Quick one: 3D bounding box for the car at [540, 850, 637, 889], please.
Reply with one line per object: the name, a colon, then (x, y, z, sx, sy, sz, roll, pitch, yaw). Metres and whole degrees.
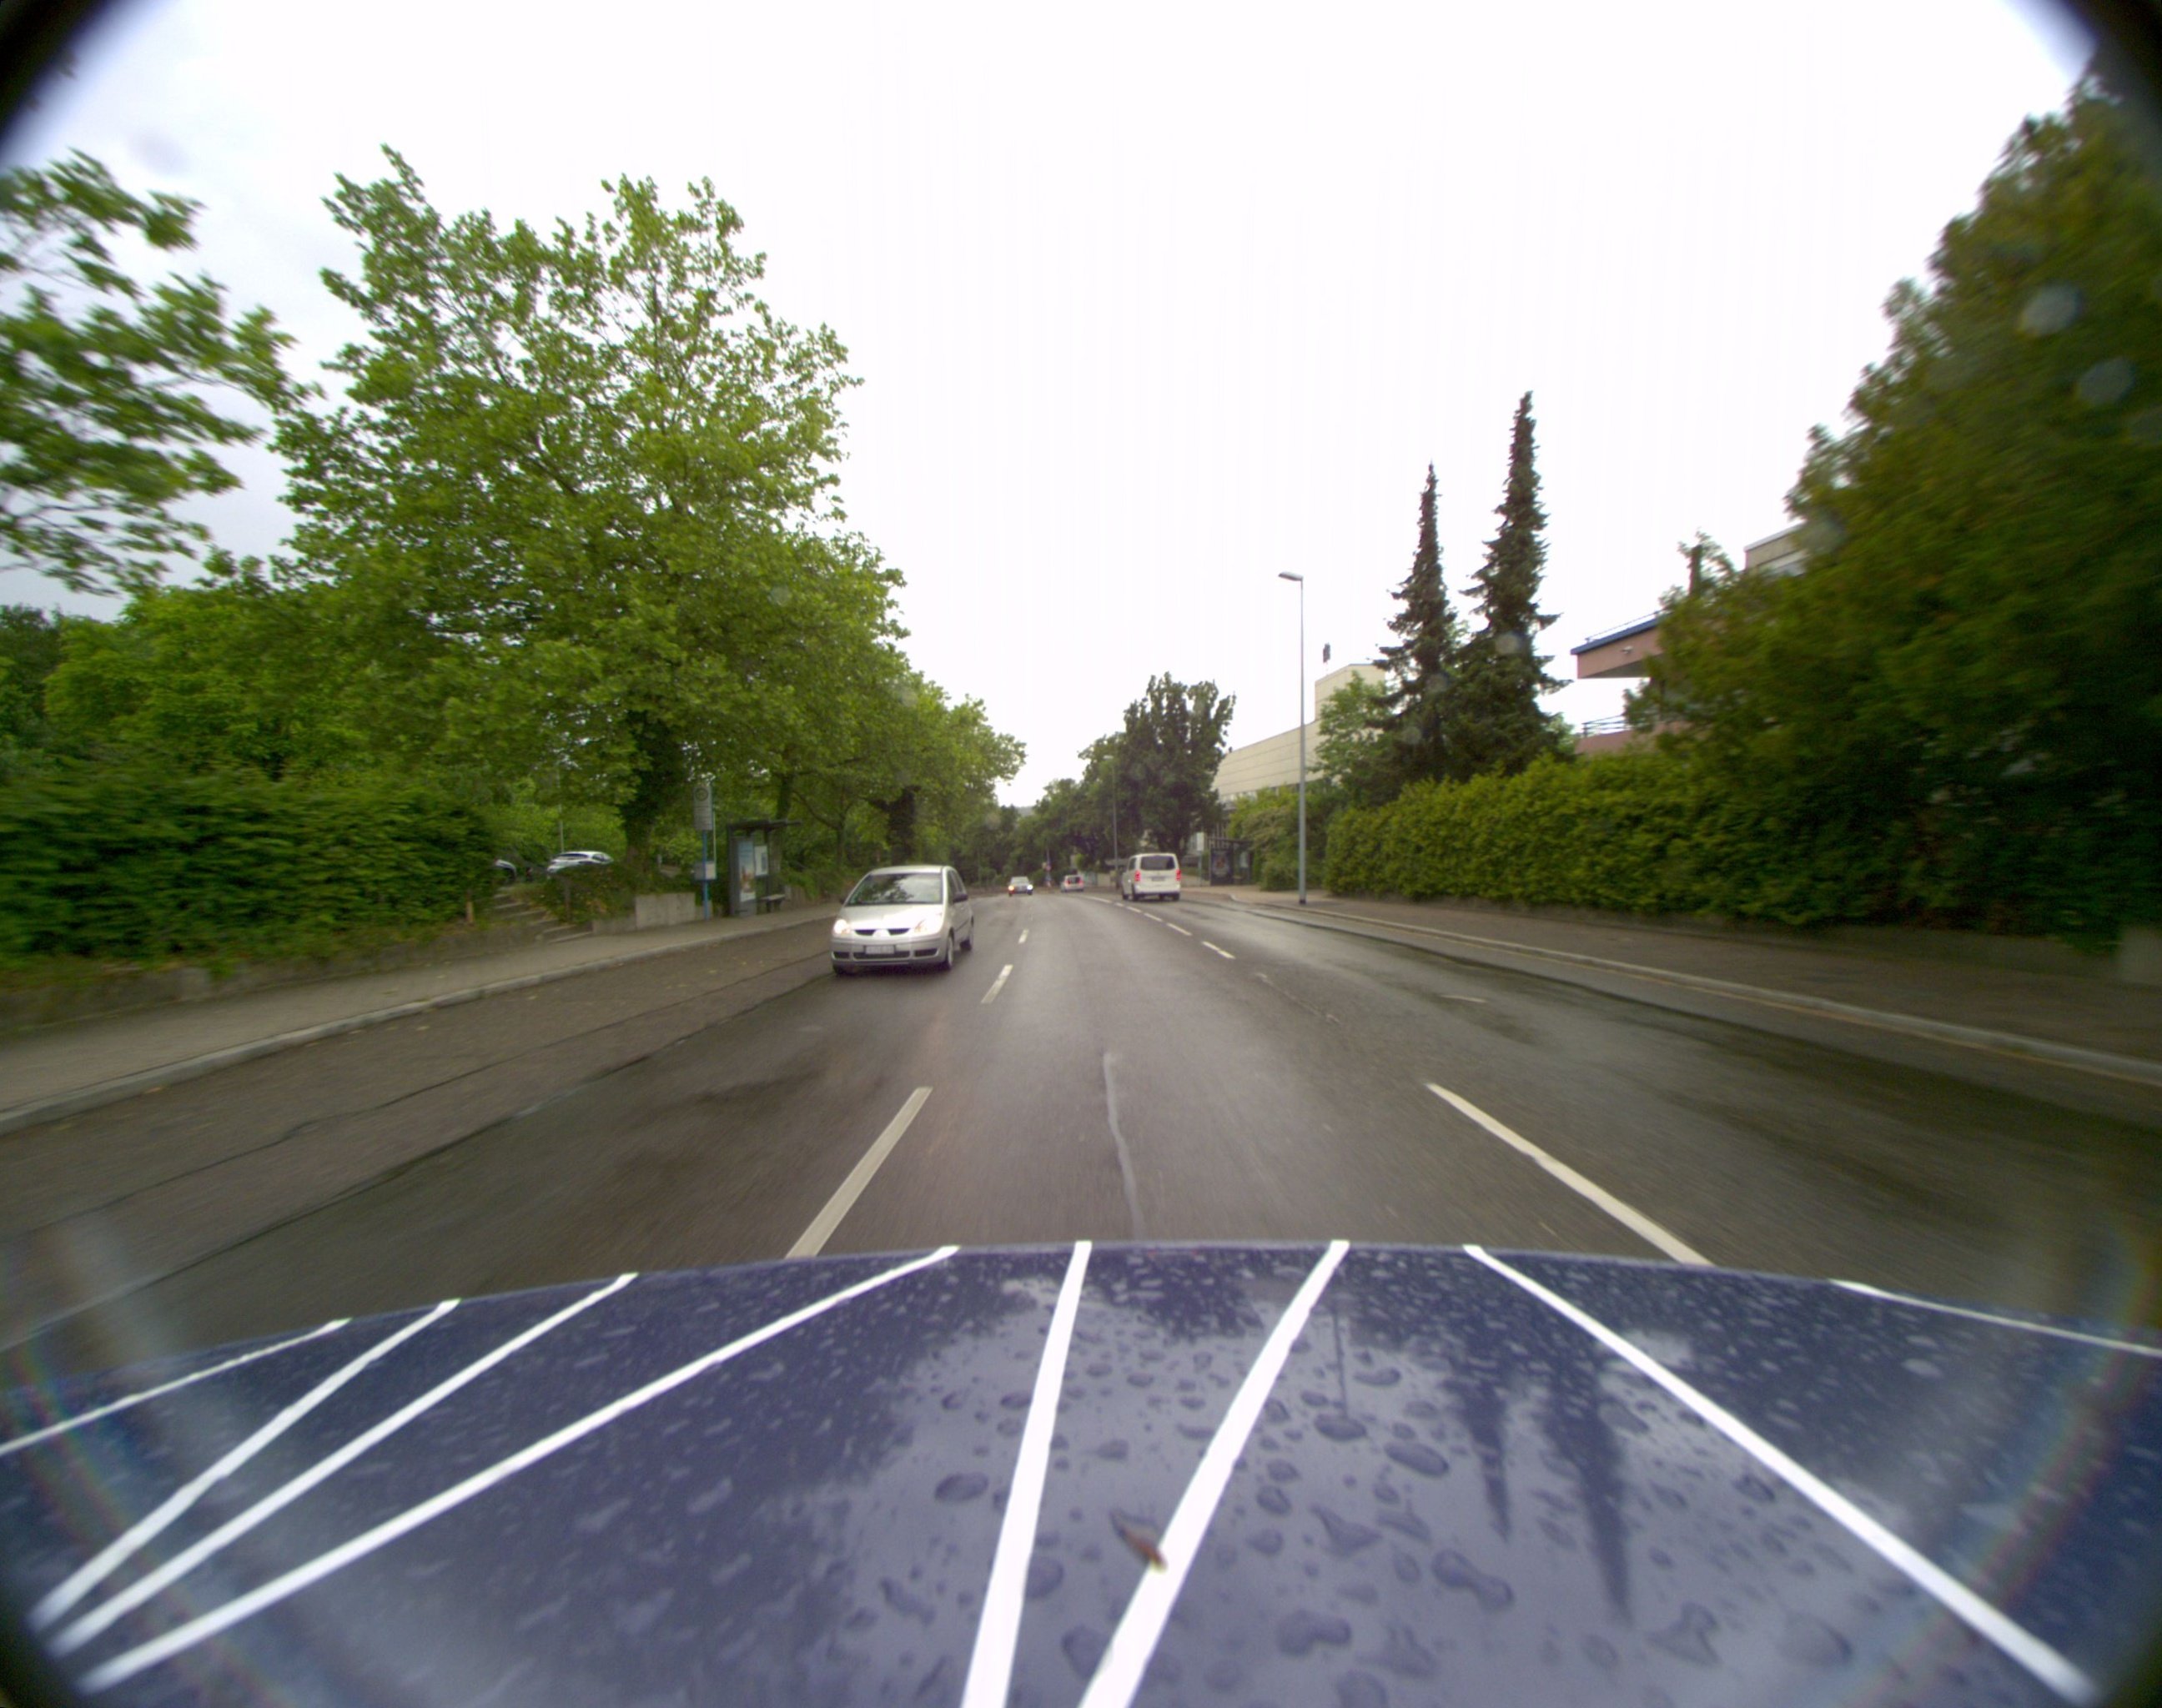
car: (-21.358, 0.714, 33.153, 1.900, 1.444, 4.170, -4, -2, -8)

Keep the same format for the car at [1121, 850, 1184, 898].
car: (2.943, 0.810, 32.392, 1.869, 1.905, 5.028, 0, 0, -4)

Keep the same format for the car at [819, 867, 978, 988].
car: (-2.708, 1.010, 12.175, 1.640, 1.496, 3.999, -3, 0, -2)

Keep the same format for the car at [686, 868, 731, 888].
car: (-29.837, 1.956, 60.988, 1.900, 1.444, 4.170, -4, -2, -8)

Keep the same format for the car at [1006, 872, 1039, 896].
car: (-4.475, 2.311, 59.013, 2.035, 1.690, 4.002, -4, -2, 1)

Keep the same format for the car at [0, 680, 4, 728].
car: (-42.110, -5.635, 26.907, 4.186, 1.758, 1.800, -3, -2, -32)

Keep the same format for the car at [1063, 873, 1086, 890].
car: (-0.606, 2.404, 67.074, 1.690, 1.445, 3.397, -2, -1, -5)
